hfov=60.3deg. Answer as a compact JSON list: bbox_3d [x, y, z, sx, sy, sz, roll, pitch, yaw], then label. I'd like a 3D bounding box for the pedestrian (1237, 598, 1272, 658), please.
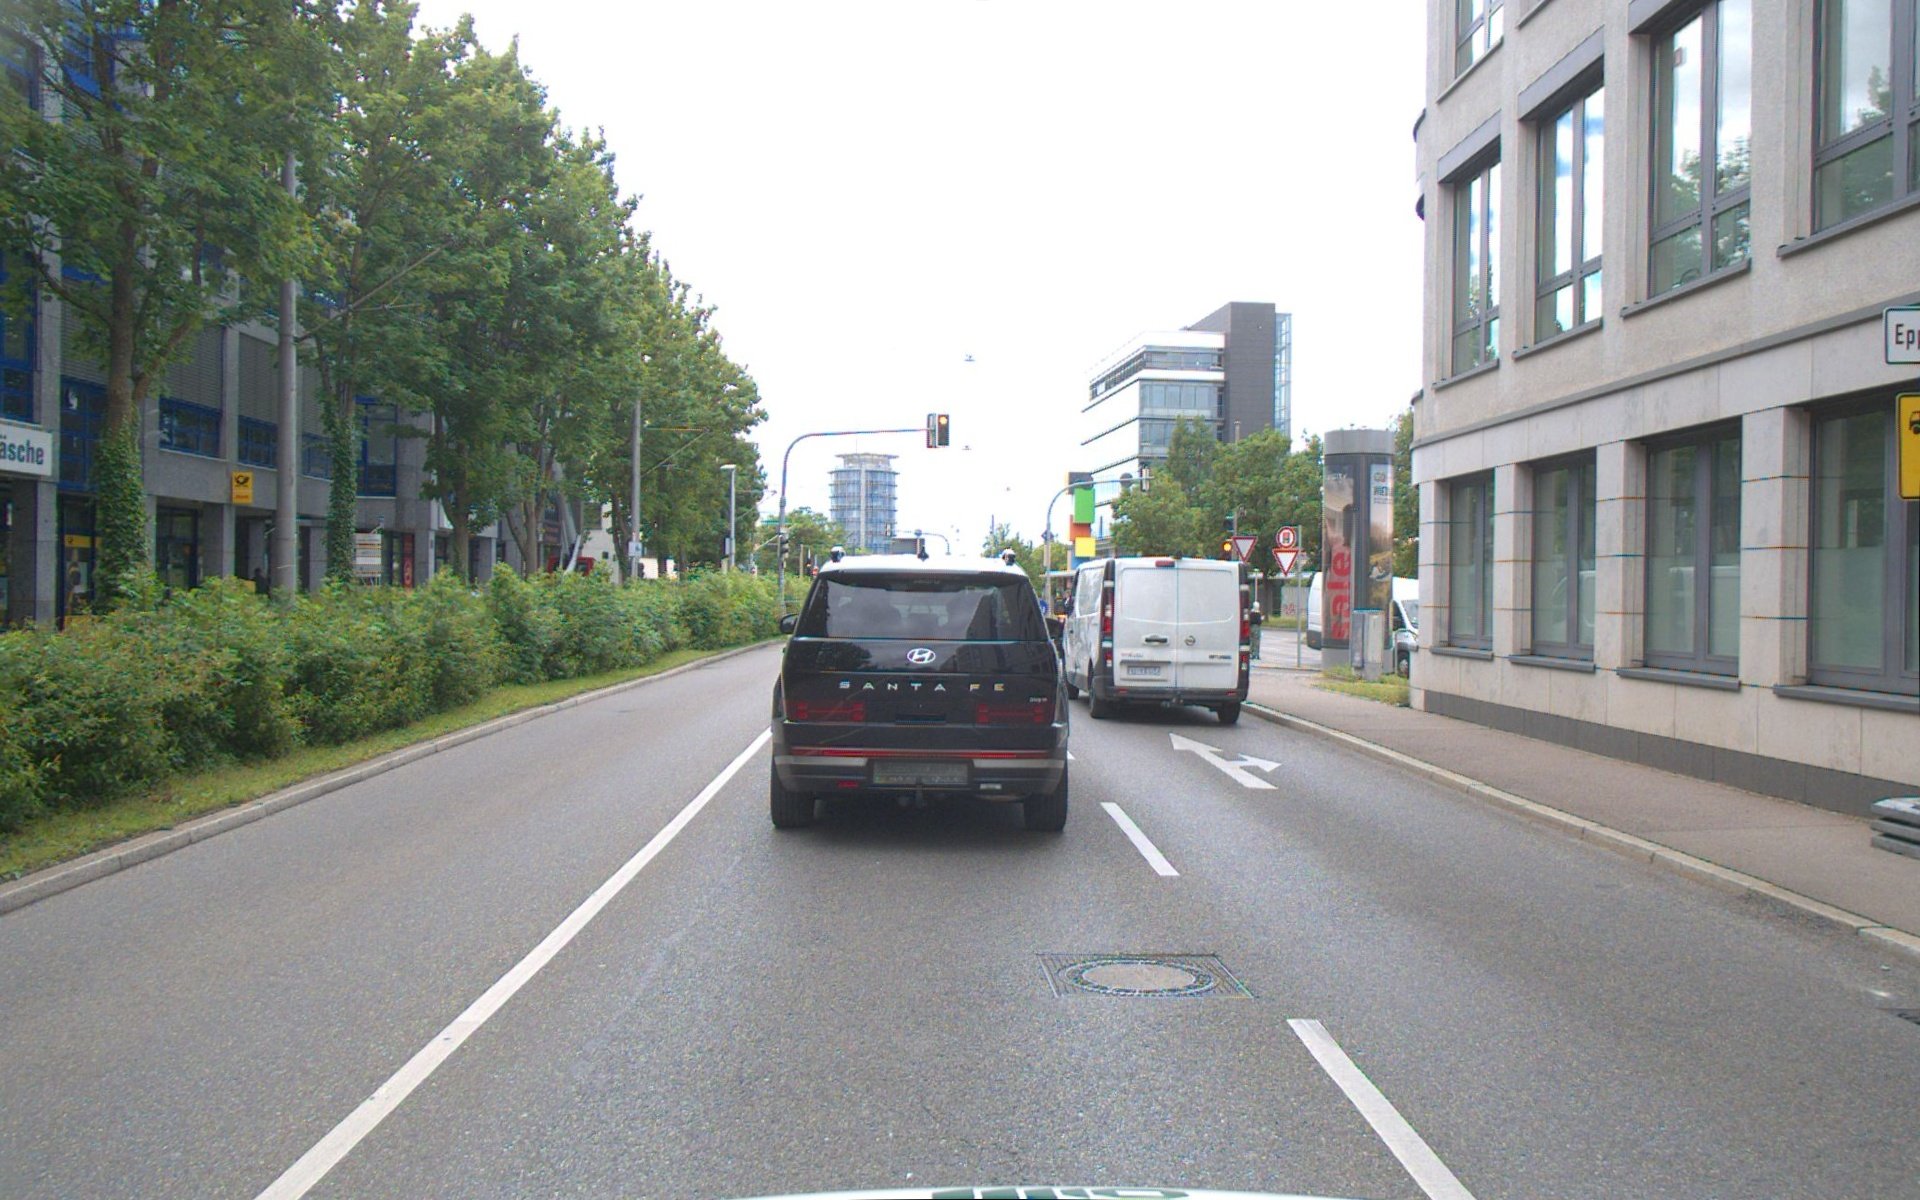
[{"bbox_3d":[8.217,0.780,46.166,0.733,1.612,0.565,2,0,-41],"label":"pedestrian"}]

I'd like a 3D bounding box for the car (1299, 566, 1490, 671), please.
[{"bbox_3d":[11.620,0.474,44.725,2.262,2.618,5.809,1,0,-17],"label":"car"}]

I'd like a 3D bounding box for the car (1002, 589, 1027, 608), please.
[{"bbox_3d":[4.973,-0.140,151.588,1.954,1.713,3.997,1,0,-4],"label":"car"}]

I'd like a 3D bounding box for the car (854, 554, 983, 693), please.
[{"bbox_3d":[-0.646,0.337,26.213,1.876,2.038,3.879,0,0,-1],"label":"car"}]

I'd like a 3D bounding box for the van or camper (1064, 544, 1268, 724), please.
[{"bbox_3d":[2.534,0.384,21.499,1.953,2.049,4.651,1,0,-1],"label":"van or camper"}]

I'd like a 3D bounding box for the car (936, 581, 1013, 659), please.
[{"bbox_3d":[0.350,0.468,39.744,1.739,1.747,4.338,1,0,0],"label":"car"}]

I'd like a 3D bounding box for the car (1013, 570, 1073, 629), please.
[{"bbox_3d":[2.985,-0.011,60.240,1.953,2.049,4.000,1,0,0],"label":"car"}]

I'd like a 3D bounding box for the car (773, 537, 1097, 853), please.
[{"bbox_3d":[-0.176,0.534,11.342,1.831,1.791,3.879,0,0,-1],"label":"car"}]

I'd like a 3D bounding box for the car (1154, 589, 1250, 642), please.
[{"bbox_3d":[8.252,0.518,56.769,1.674,1.713,3.767,1,0,-20],"label":"car"}]
